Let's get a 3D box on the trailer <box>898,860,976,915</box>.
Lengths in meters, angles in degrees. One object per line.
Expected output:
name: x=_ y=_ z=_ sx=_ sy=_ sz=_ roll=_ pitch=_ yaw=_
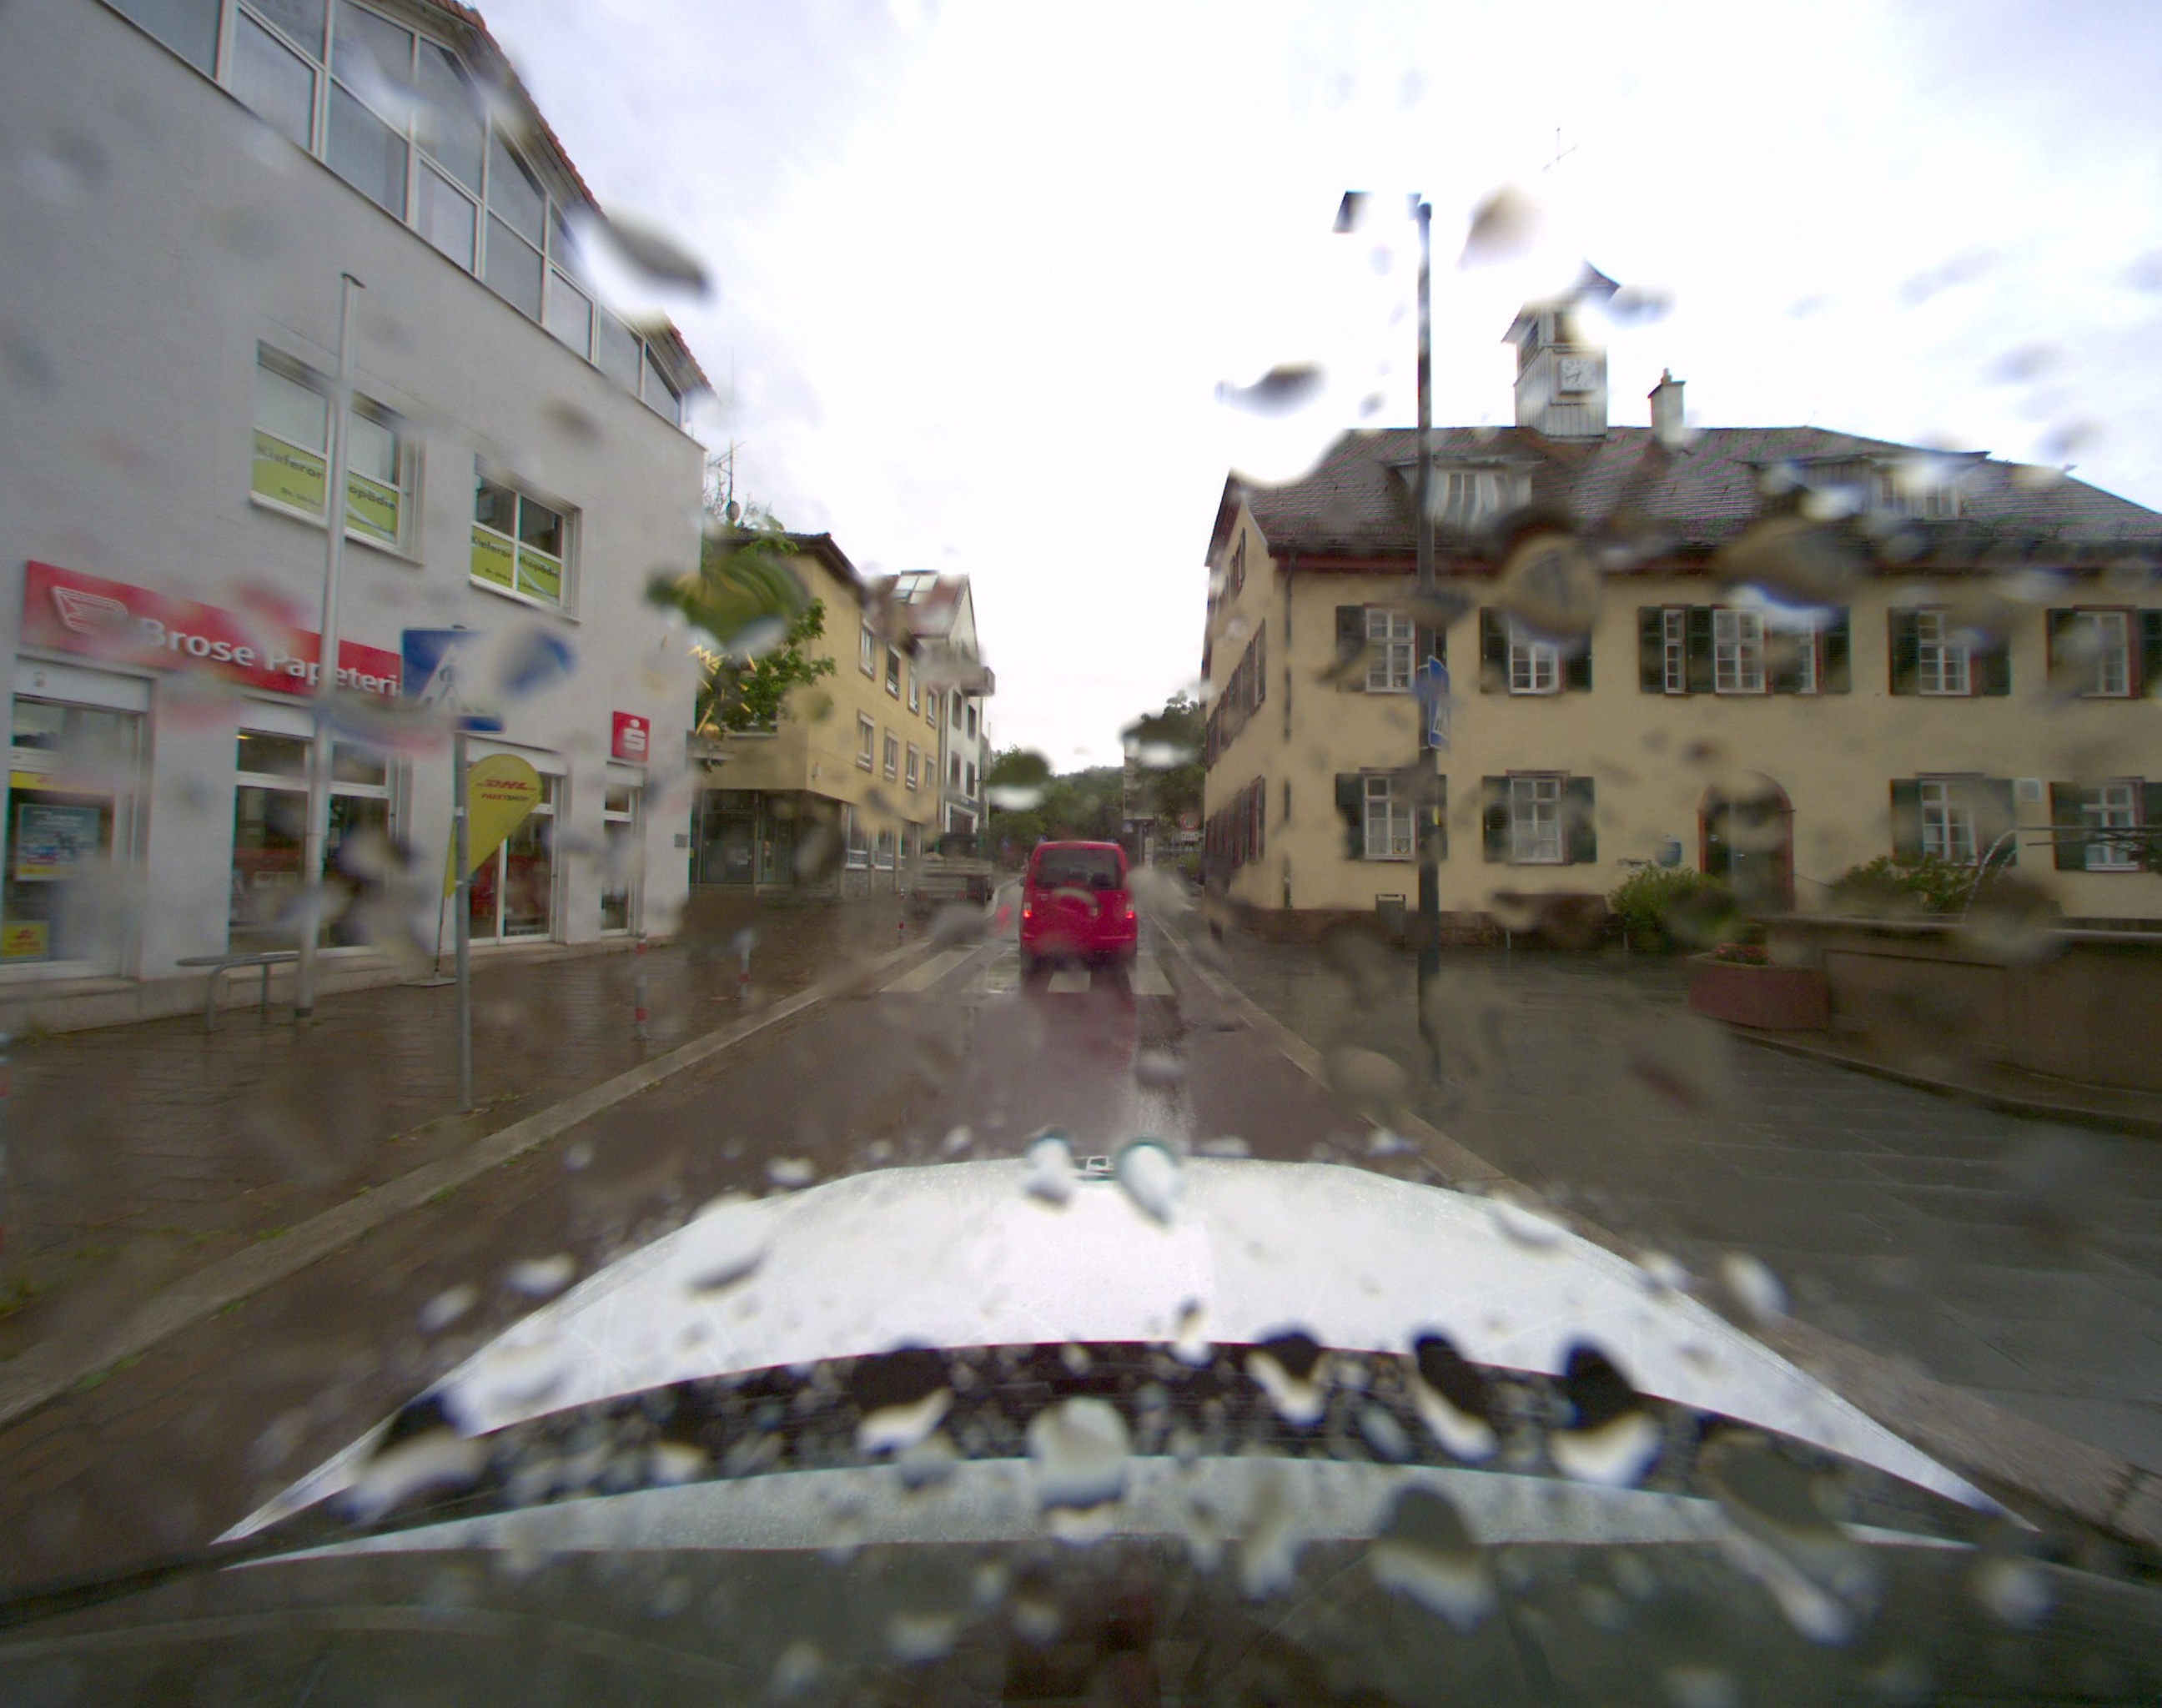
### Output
trailer: x=-3.839 y=0.854 z=22.183 sx=1.724 sy=1.346 sz=3.157 roll=0 pitch=0 yaw=-3

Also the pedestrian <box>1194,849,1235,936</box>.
pedestrian: x=2.662 y=0.753 z=16.304 sx=0.711 sy=1.693 sz=0.869 roll=0 pitch=0 yaw=4

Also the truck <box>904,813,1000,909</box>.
truck: x=-4.080 y=0.191 z=27.041 sx=2.468 sy=2.795 sz=6.592 roll=0 pitch=0 yaw=-3

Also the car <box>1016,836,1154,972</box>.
car: x=-0.005 y=0.705 z=13.284 sx=1.857 sy=1.831 sz=4.181 roll=-1 pitch=-1 yaw=-2

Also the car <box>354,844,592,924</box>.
car: x=-12.940 y=0.618 z=17.440 sx=3.959 sy=1.564 sz=1.973 roll=-1 pitch=-1 yaw=13

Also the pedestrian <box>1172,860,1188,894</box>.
pedestrian: x=4.748 y=1.111 z=39.080 sx=0.724 sy=1.617 sz=0.694 roll=0 pitch=-1 yaw=4
